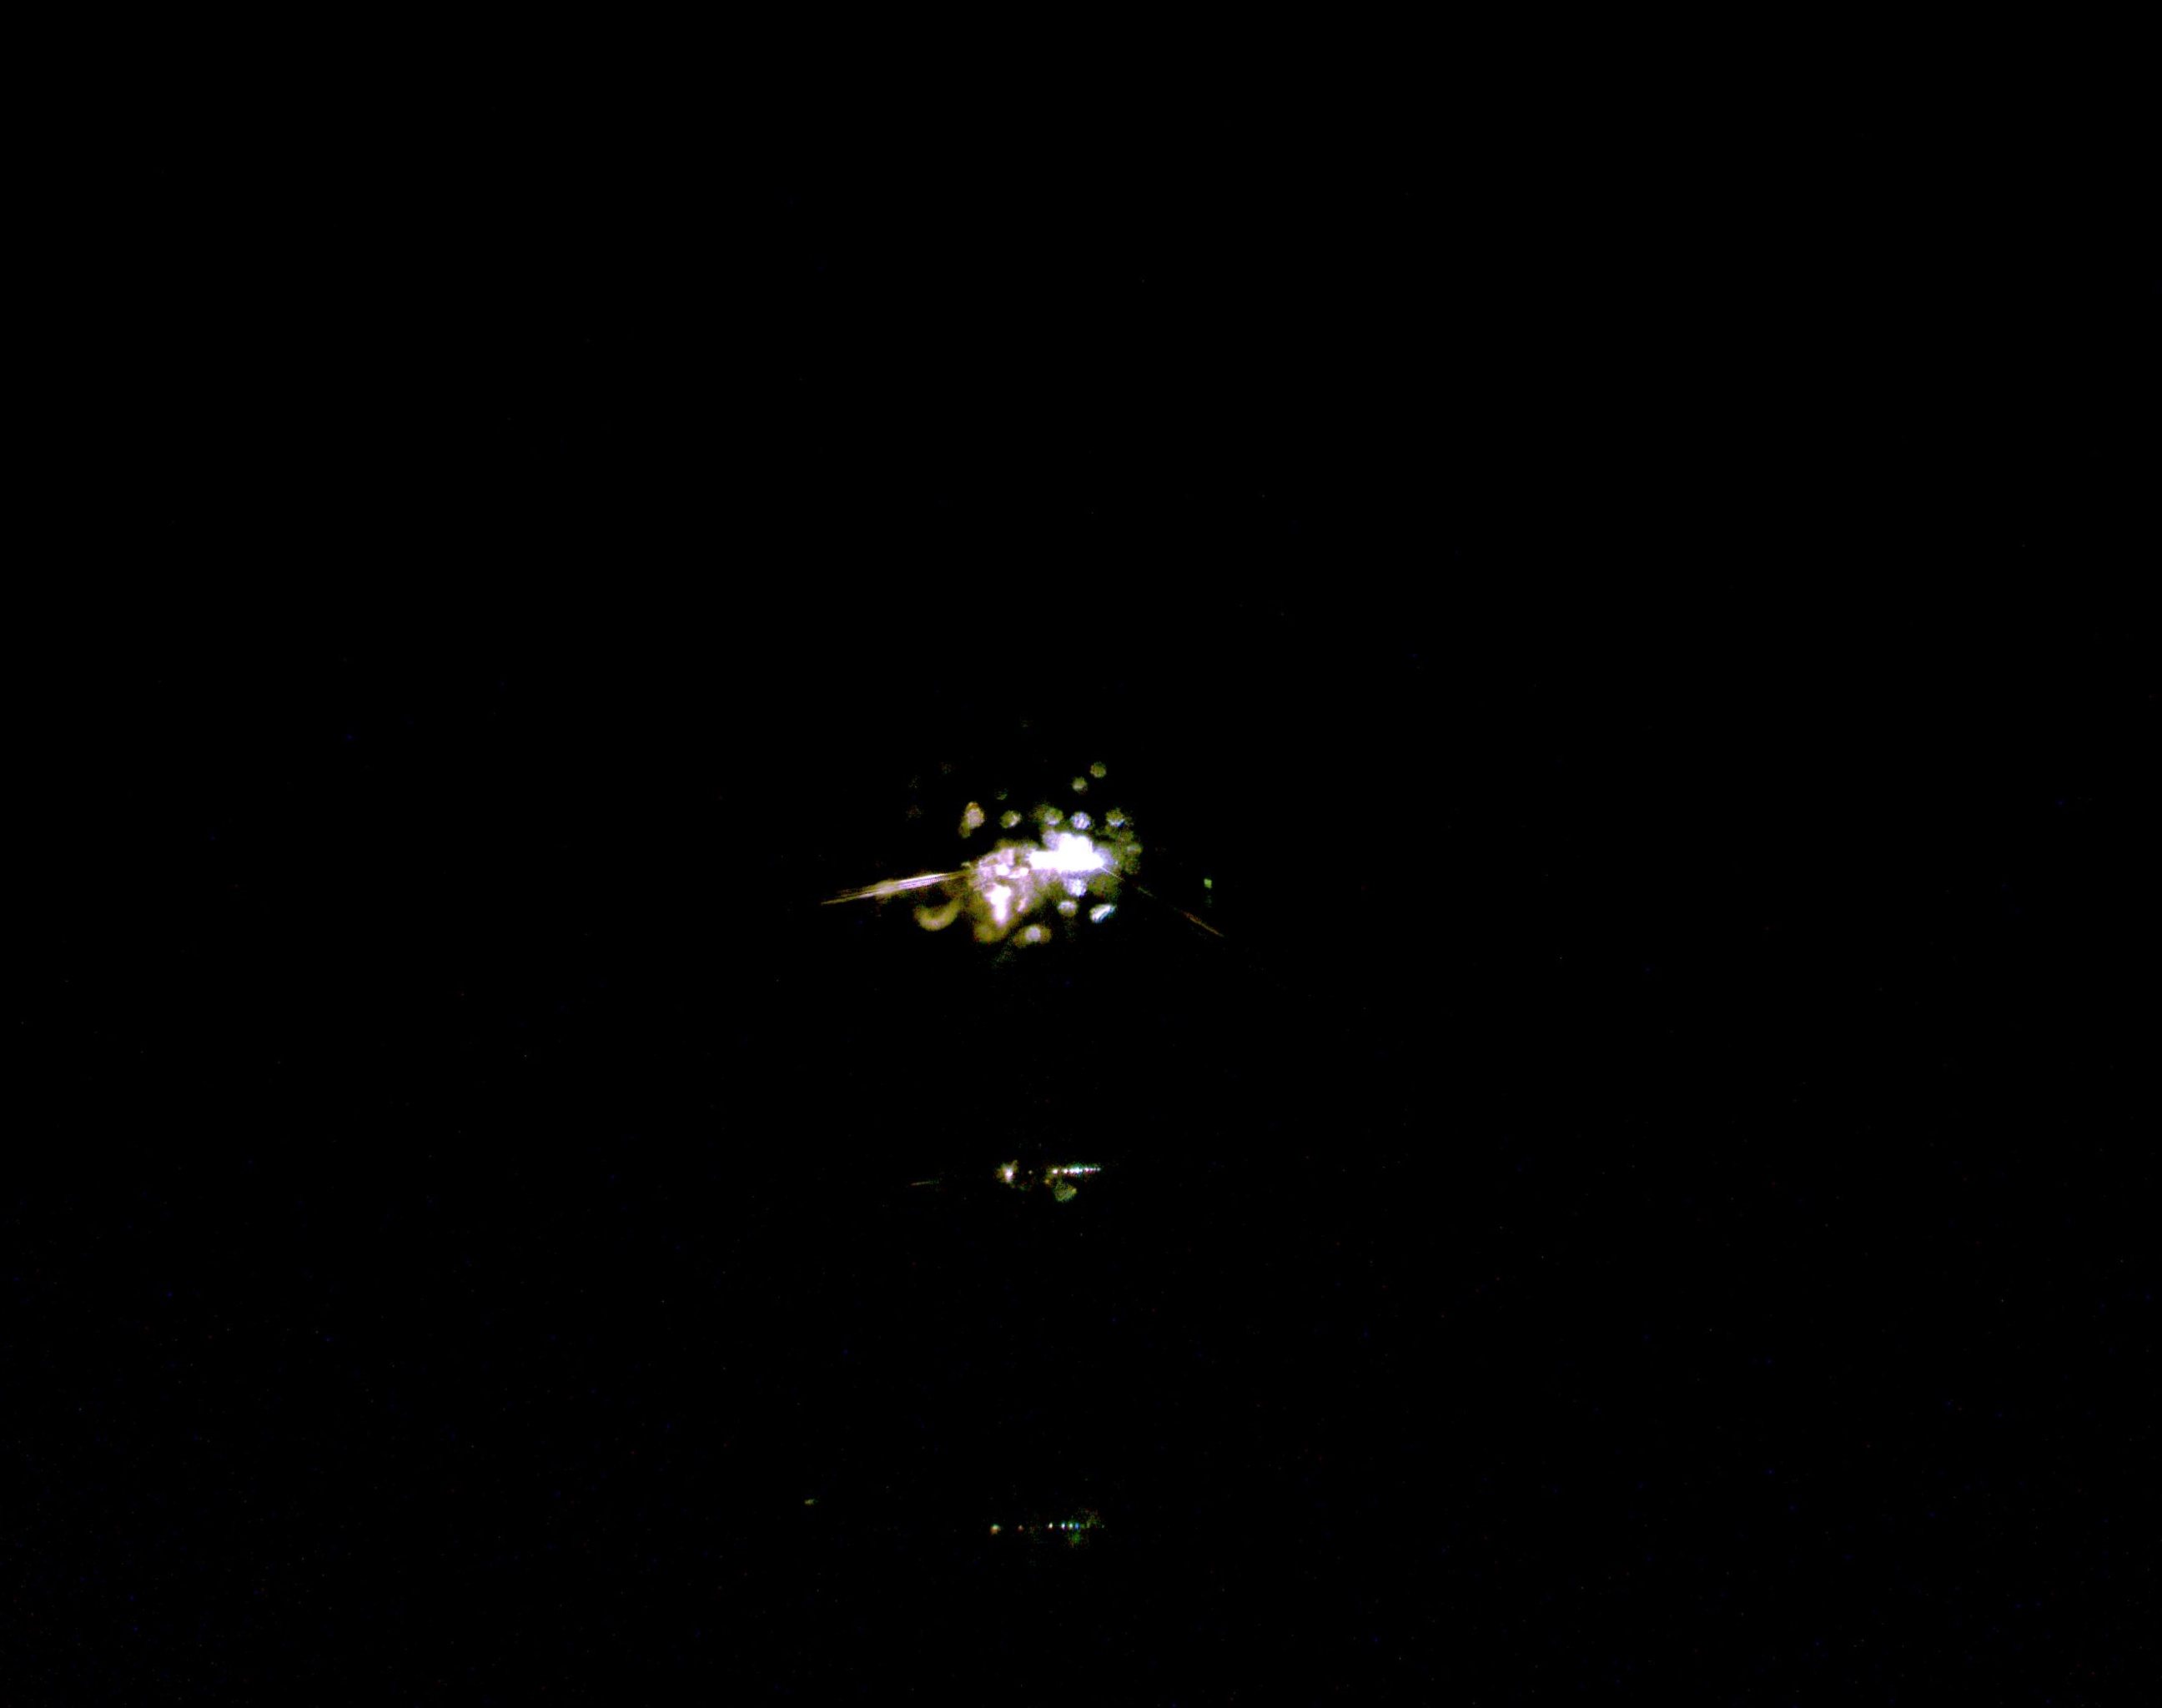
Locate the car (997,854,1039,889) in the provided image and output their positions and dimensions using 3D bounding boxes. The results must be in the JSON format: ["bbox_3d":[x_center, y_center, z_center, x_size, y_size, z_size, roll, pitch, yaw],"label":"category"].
[{"bbox_3d":[-3.076,0.811,40.428,1.716,1.613,4.002,-1,0,1],"label":"car"}]

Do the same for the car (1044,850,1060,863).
[{"bbox_3d":[-3.558,0.319,101.760,1.803,1.600,4.630,1,0,0],"label":"car"}]
